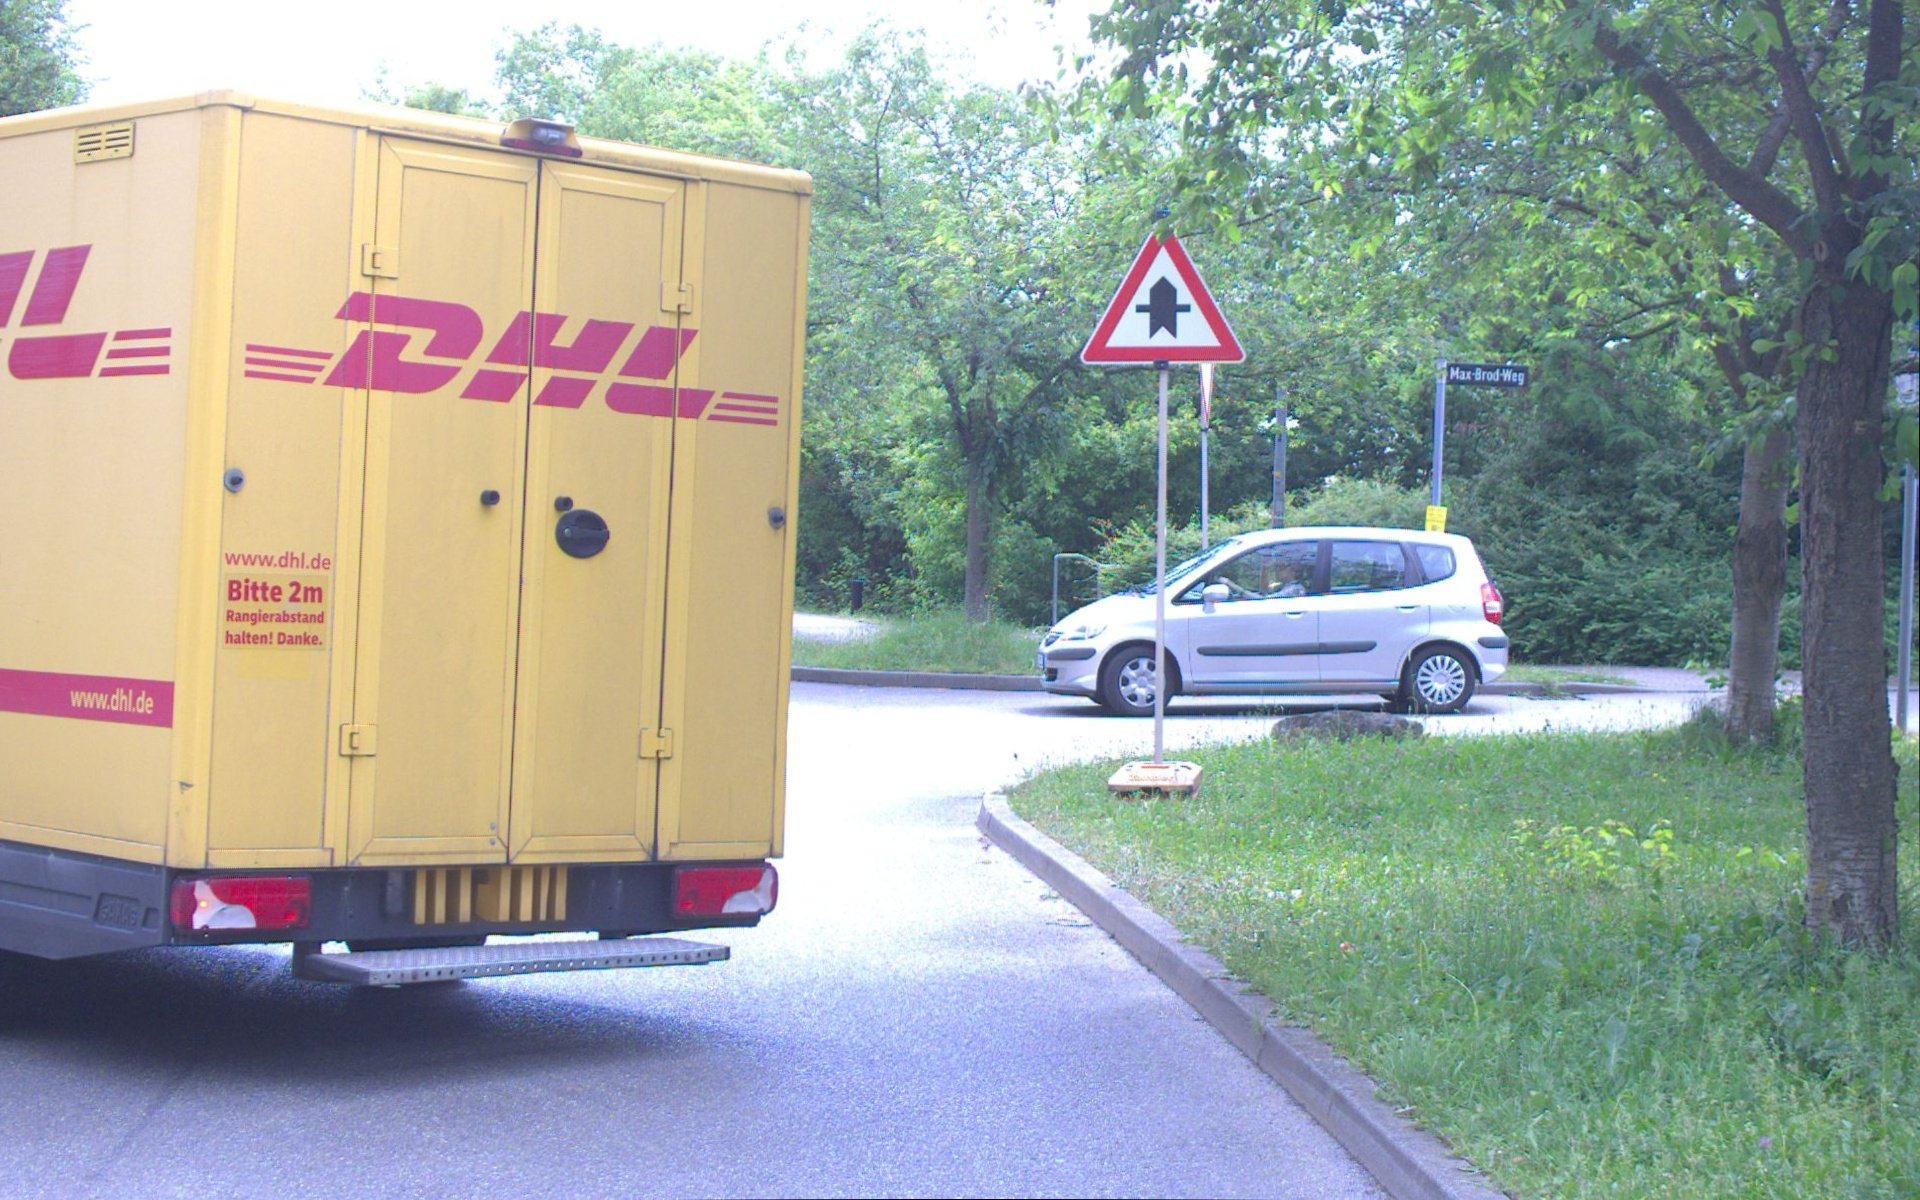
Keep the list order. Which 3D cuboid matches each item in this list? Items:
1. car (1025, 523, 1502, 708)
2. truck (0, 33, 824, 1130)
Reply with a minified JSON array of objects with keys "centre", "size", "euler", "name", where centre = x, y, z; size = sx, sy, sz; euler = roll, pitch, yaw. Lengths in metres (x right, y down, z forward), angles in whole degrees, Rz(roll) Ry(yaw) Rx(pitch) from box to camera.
[{"centre":[2.448,0.113,28.344],"size":[3.640,1.451,1.847],"euler":[0,1,-5],"name":"car"},{"centre":[-3.386,-0.125,11.990],"size":[2.226,2.799,6.569],"euler":[-1,2,-41],"name":"truck"}]
